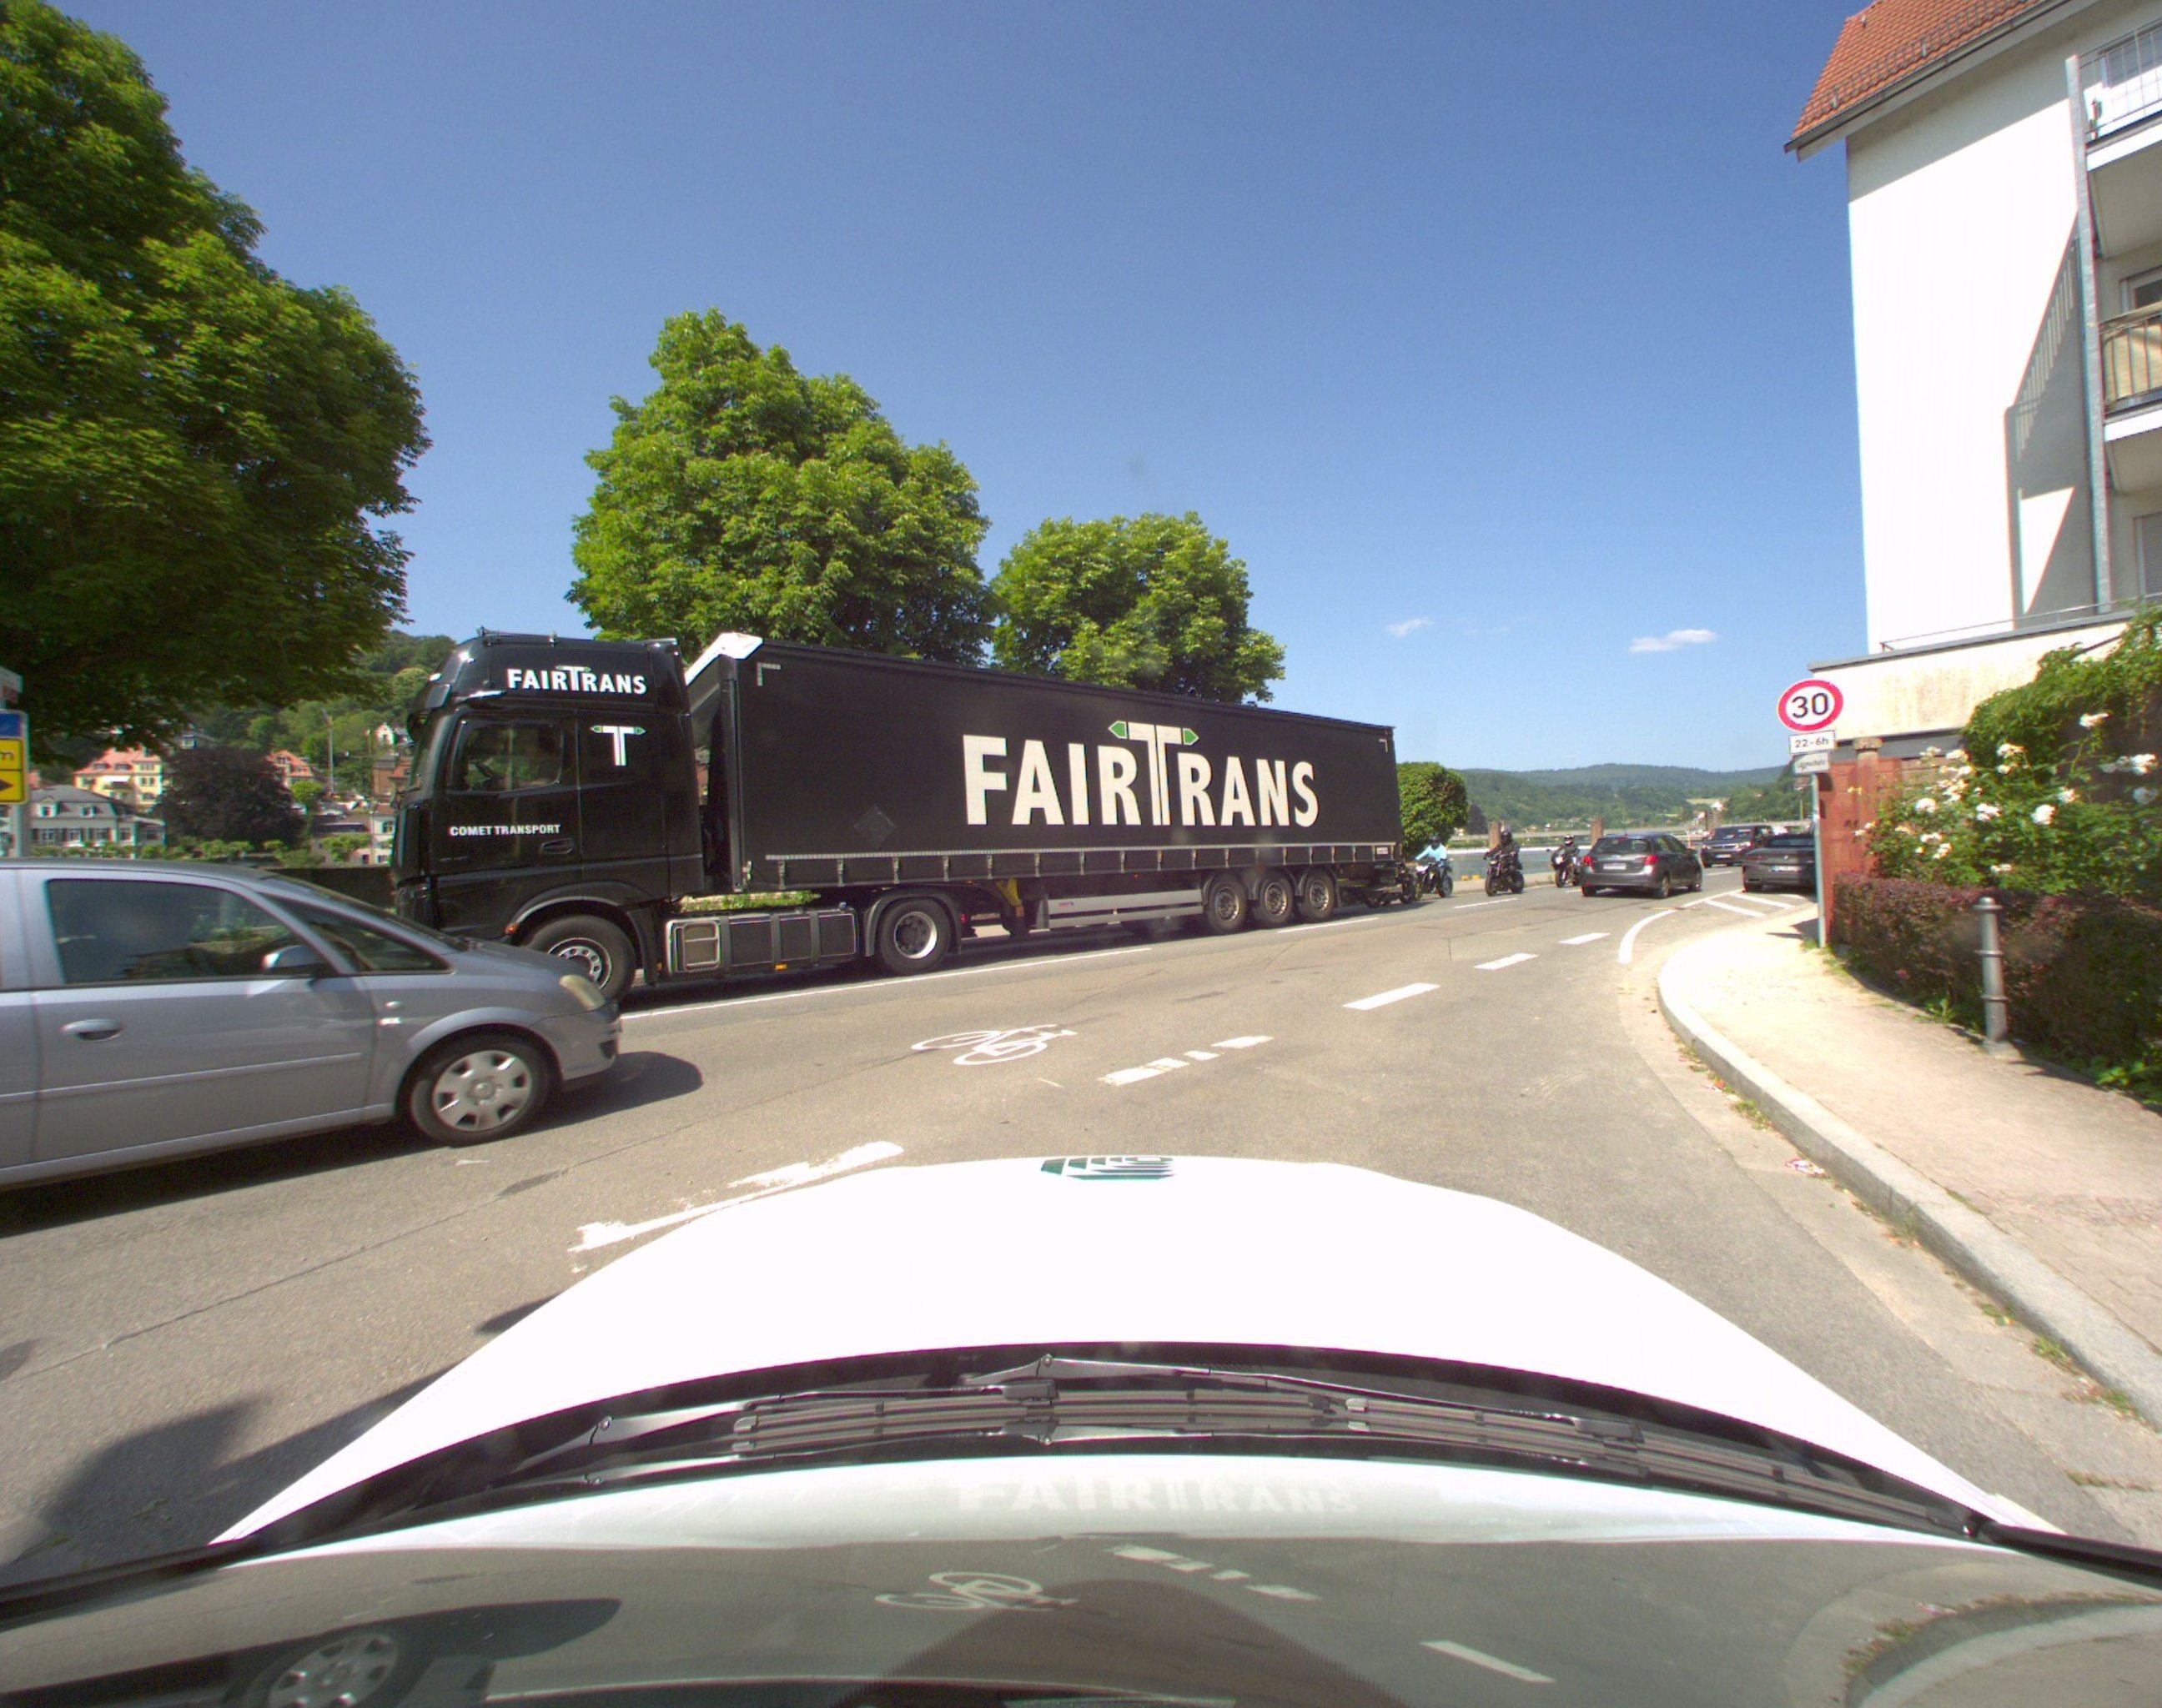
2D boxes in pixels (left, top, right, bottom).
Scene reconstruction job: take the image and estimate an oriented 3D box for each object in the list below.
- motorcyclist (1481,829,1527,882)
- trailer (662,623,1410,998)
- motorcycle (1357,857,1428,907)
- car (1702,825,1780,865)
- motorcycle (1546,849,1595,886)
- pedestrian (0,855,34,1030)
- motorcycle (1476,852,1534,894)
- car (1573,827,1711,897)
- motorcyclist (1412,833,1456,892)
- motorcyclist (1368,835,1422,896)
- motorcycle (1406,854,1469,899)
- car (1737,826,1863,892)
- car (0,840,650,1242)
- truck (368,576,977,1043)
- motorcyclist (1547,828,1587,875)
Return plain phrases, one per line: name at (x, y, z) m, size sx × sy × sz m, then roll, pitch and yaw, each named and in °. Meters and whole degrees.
motorcyclist at (11.249, 0.043, 21.642) m, size 0.804 × 1.366 × 0.780 m, roll -2°, pitch -1°, yaw -39°
trailer at (0.645, -0.614, 14.292) m, size 13.839 × 4.104 × 2.809 m, roll -2°, pitch -2°, yaw -38°
motorcycle at (7.793, 0.676, 20.350) m, size 2.103 × 1.123 × 0.628 m, roll -2°, pitch -3°, yaw -39°
car at (29.360, -0.400, 36.208) m, size 3.790 × 1.669 × 1.754 m, roll -2°, pitch 0°, yaw -36°
motorcycle at (14.935, 0.402, 24.808) m, size 1.824 × 1.024 × 0.651 m, roll -2°, pitch -1°, yaw -39°
pedestrian at (-11.527, 0.924, 8.371) m, size 0.704 × 1.802 × 0.577 m, roll -2°, pitch -1°, yaw -16°
motorcycle at (11.250, 0.502, 21.579) m, size 1.824 × 1.024 × 0.651 m, roll -2°, pitch -1°, yaw -39°
car at (13.548, 0.163, 19.589) m, size 3.901 × 1.498 × 1.707 m, roll -2°, pitch -1°, yaw -40°
motorcyclist at (9.629, 0.230, 22.211) m, size 0.997 × 1.525 × 0.657 m, roll -2°, pitch -2°, yaw -40°
motorcyclist at (7.886, 0.281, 20.449) m, size 0.996 × 1.460 × 0.772 m, roll -2°, pitch -2°, yaw -39°
motorcycle at (9.781, 0.599, 22.311) m, size 2.103 × 1.123 × 0.628 m, roll -2°, pitch -3°, yaw -39°
car at (17.048, 0.081, 19.262) m, size 3.759 × 1.399 × 1.673 m, roll -2°, pitch 0°, yaw -40°
car at (-4.572, 0.777, 4.312) m, size 3.759 × 1.610 × 1.673 m, roll -2°, pitch 0°, yaw -40°
truck at (-4.677, -0.407, 10.043) m, size 5.962 × 4.071 × 2.807 m, roll -2°, pitch -2°, yaw -39°
motorcyclist at (14.790, -0.081, 24.765) m, size 0.941 × 1.366 × 0.711 m, roll -2°, pitch -1°, yaw -39°
